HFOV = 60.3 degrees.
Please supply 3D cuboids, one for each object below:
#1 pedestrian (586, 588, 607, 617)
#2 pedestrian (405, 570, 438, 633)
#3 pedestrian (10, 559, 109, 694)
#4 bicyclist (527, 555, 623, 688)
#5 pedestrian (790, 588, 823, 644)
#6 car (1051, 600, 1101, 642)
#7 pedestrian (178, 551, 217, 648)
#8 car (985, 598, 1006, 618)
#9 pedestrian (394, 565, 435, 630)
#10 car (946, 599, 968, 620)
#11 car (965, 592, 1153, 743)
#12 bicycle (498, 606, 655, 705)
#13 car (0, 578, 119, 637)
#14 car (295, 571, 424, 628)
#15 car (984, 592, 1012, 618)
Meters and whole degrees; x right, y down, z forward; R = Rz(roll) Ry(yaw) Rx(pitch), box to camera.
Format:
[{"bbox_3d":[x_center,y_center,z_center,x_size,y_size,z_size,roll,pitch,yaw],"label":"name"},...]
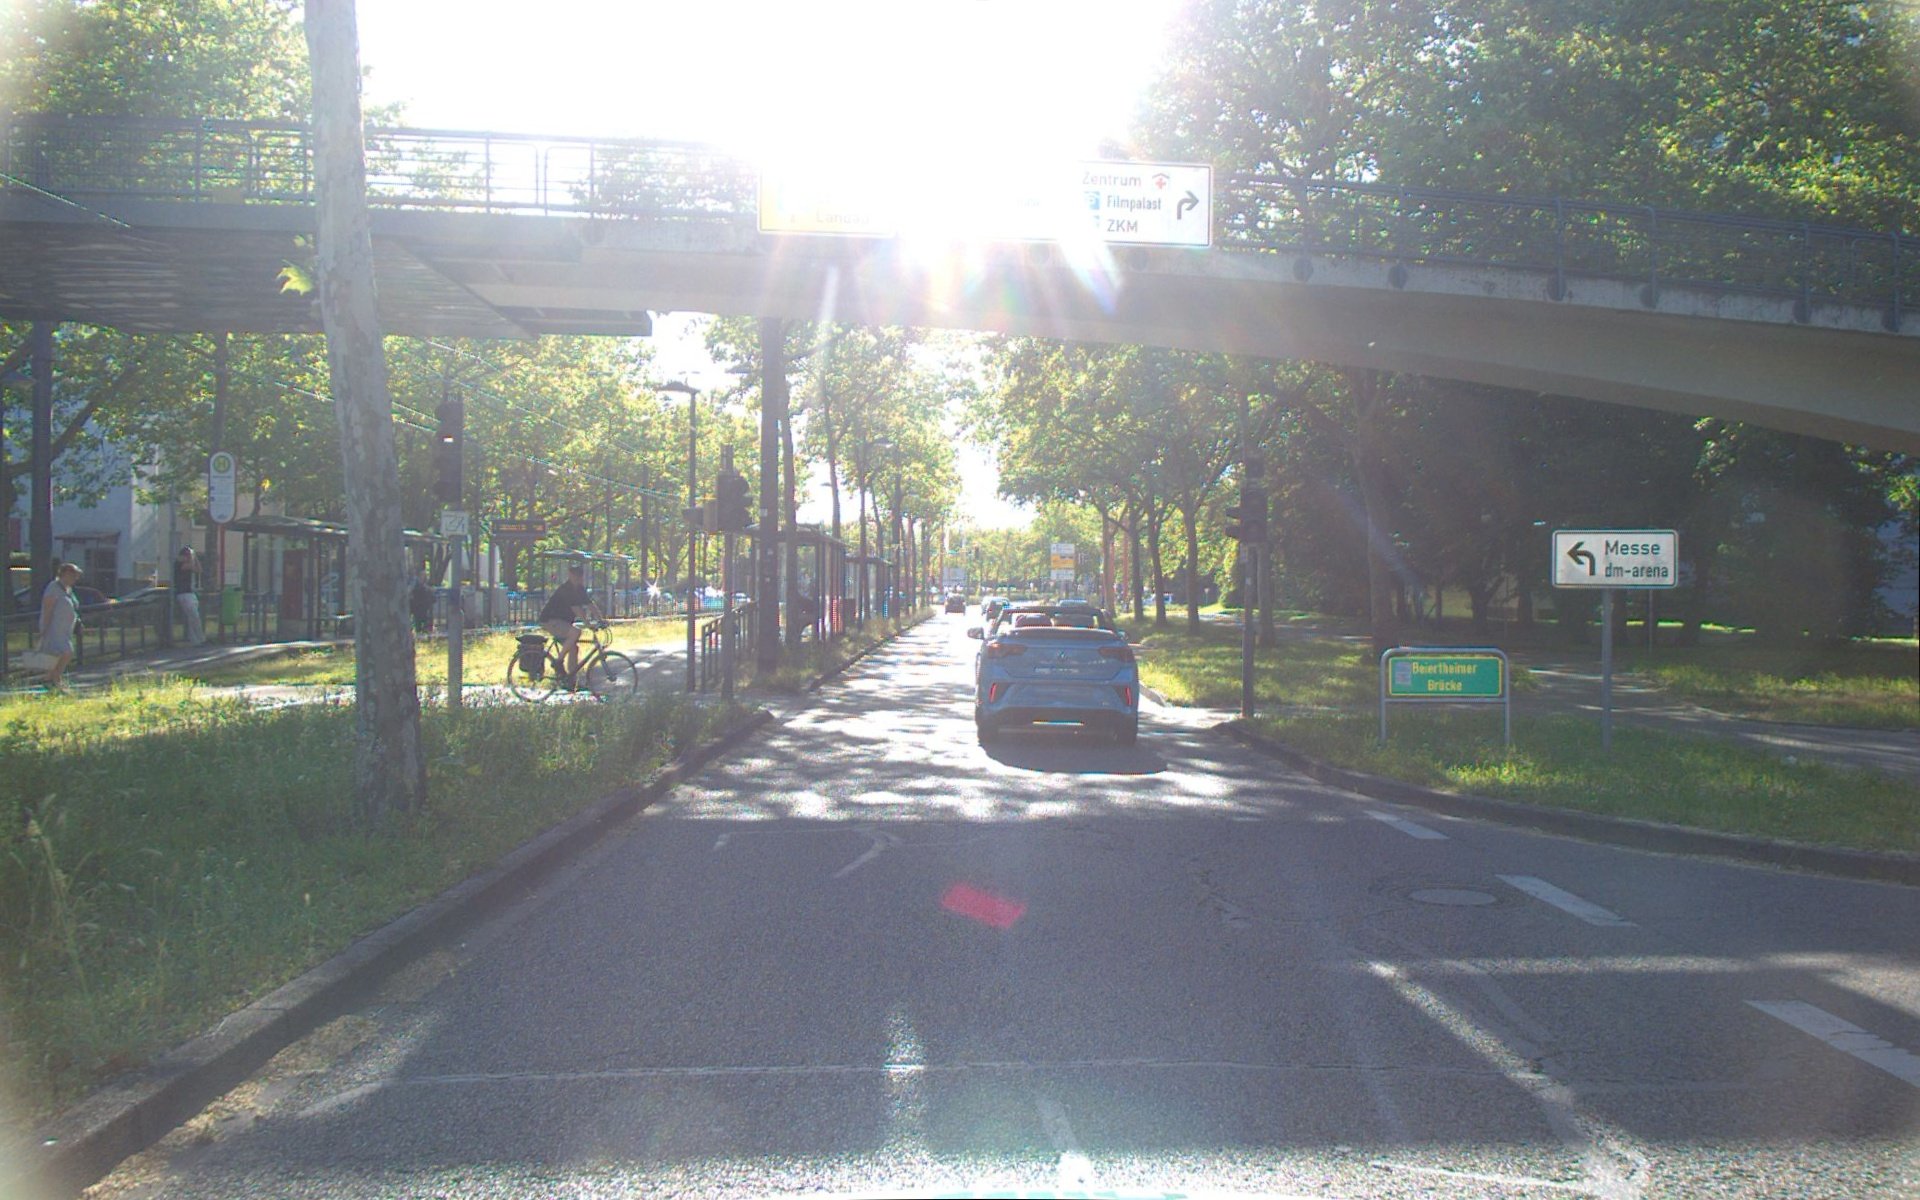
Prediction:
[{"bbox_3d":[-14.733,0.114,67.023,0.680,1.147,0.662,-2,-1,1],"label":"pedestrian"},{"bbox_3d":[-13.345,0.046,40.991,0.630,1.540,0.683,-1,0,-8],"label":"pedestrian"},{"bbox_3d":[-11.822,0.341,21.753,0.711,1.703,1.048,2,-1,-4],"label":"pedestrian"},{"bbox_3d":[-5.029,0.274,21.651,0.933,1.660,0.815,2,1,6],"label":"bicyclist"},{"bbox_3d":[-3.627,0.376,39.101,0.719,1.274,0.587,2,-1,-6],"label":"pedestrian"},{"bbox_3d":[5.237,0.940,75.115,1.941,1.823,4.613,0,0,0],"label":"car"},{"bbox_3d":[-14.237,-0.010,30.866,0.499,1.801,0.477,2,-1,-41],"label":"pedestrian"},{"bbox_3d":[2.905,0.665,136.580,1.644,1.500,4.131,2,0,1],"label":"car"},{"bbox_3d":[-13.946,-0.063,42.276,0.698,1.663,0.732,0,0,16],"label":"pedestrian"},{"bbox_3d":[-0.224,0.756,132.935,1.675,1.631,3.349,1,0,-1],"label":"car"},{"bbox_3d":[1.038,0.697,19.295,1.740,1.509,4.098,2,0,-3],"label":"car"},{"bbox_3d":[-5.007,0.709,21.646,1.792,1.167,0.815,3,1,6],"label":"bicycle"},{"bbox_3d":[-24.590,0.186,43.471,4.159,1.453,1.676,2,1,-39],"label":"car"},{"bbox_3d":[-23.986,-0.022,66.174,4.456,2.099,1.874,2,1,-39],"label":"car"},{"bbox_3d":[2.360,0.280,103.907,1.605,1.520,3.503,2,1,-1],"label":"car"}]
